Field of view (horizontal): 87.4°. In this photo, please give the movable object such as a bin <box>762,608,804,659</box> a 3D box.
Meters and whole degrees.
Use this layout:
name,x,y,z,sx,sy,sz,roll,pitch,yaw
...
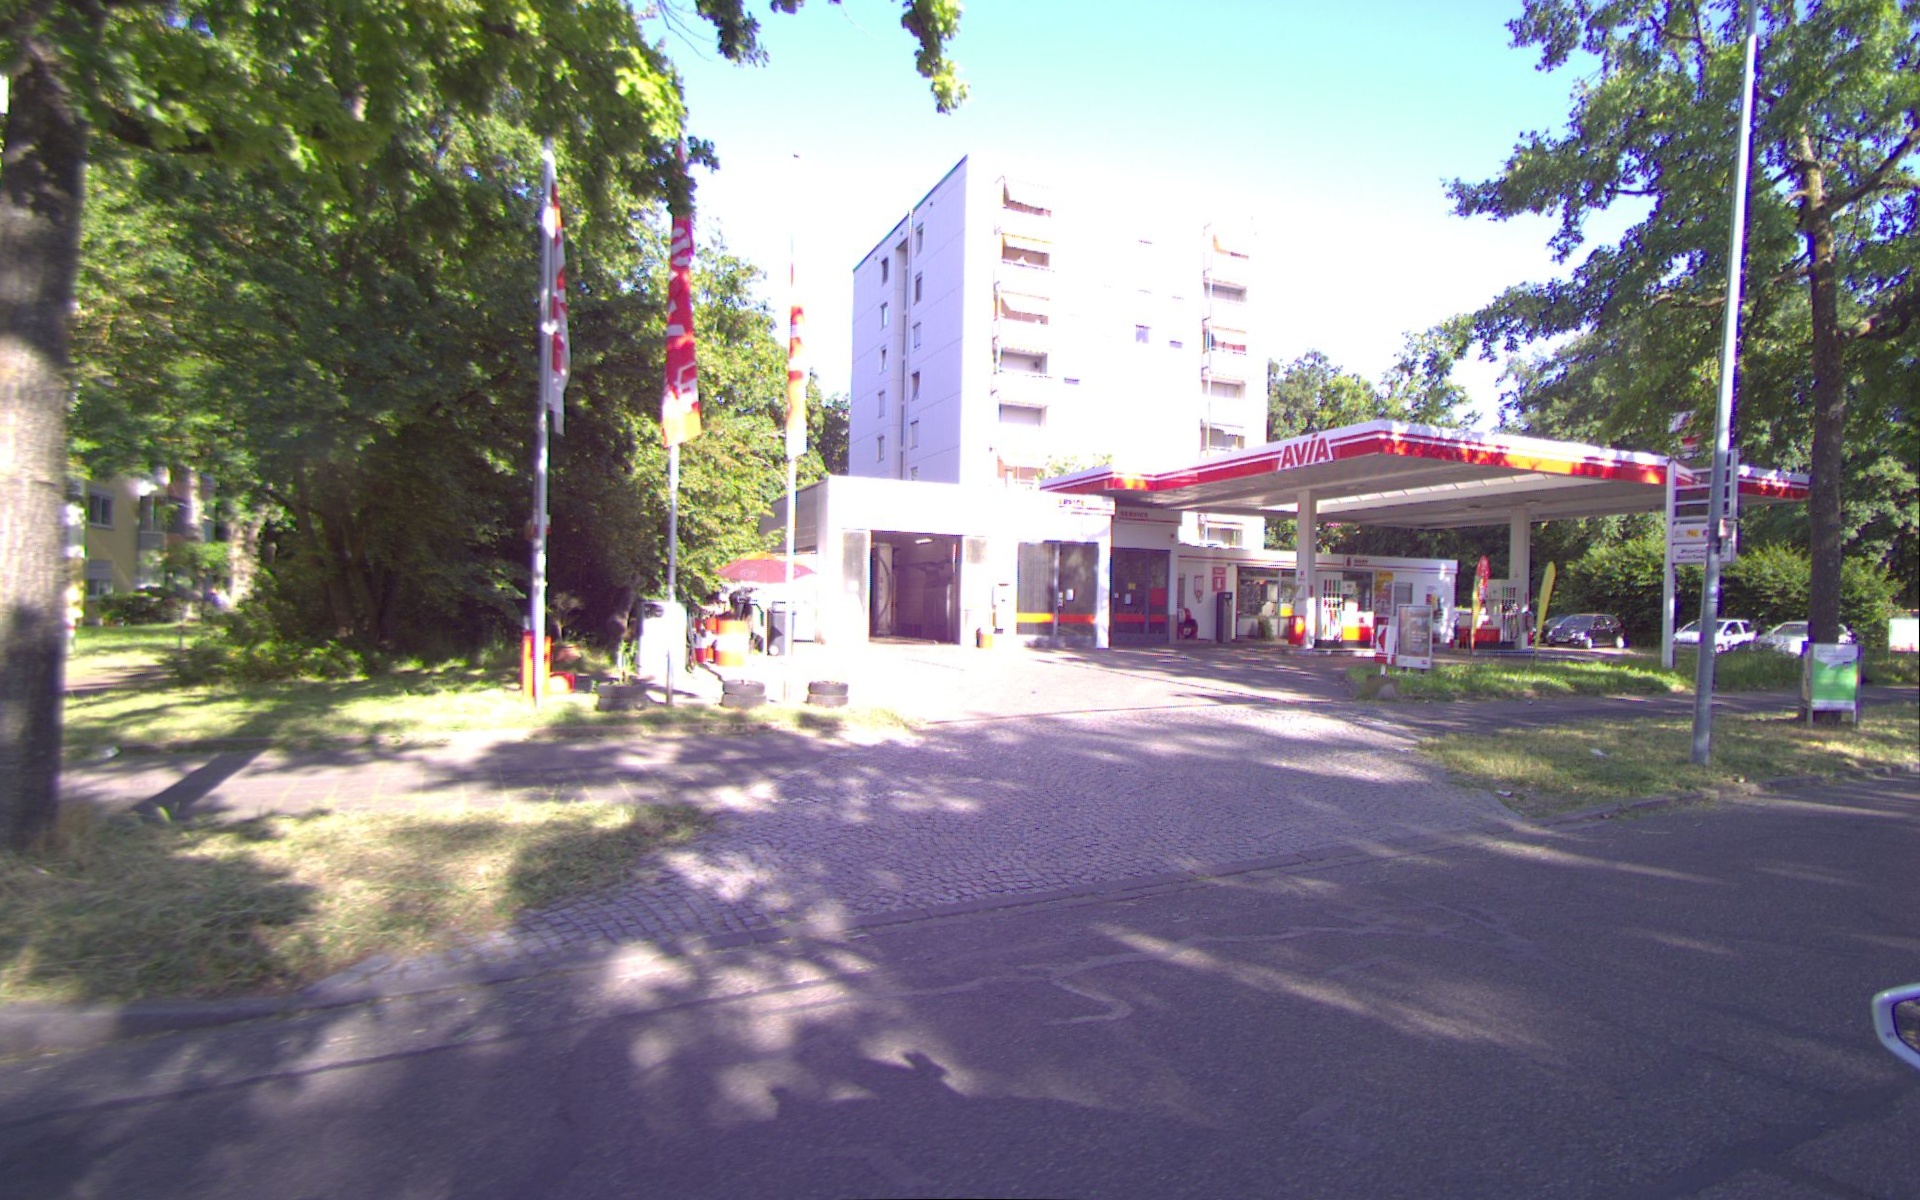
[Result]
name,x,y,z,sx,sy,sz,roll,pitch,yaw
movable object such as a bin,-3.940,0.737,22.360,0.759,1.100,0.566,1,0,-28

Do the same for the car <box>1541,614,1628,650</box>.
name,x,y,z,sx,sy,sz,roll,pitch,yaw
car,25.952,1.333,41.751,3.158,1.386,1.420,1,2,-21

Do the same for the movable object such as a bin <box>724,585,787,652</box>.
name,x,y,z,sx,sy,sz,roll,pitch,yaw
movable object such as a bin,-4.967,0.439,24.405,1.149,1.562,1.298,1,1,-28

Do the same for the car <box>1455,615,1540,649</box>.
name,x,y,z,sx,sy,sz,roll,pitch,yaw
car,24.242,1.413,45.391,1.437,1.335,3.189,1,2,-21

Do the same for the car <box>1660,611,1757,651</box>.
name,x,y,z,sx,sy,sz,roll,pitch,yaw
car,28.079,1.156,37.674,3.158,1.386,1.420,1,2,-21

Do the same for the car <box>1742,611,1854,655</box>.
name,x,y,z,sx,sy,sz,roll,pitch,yaw
car,29.704,1.167,35.600,3.435,1.441,1.543,1,2,-21

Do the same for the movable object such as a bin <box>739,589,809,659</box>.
name,x,y,z,sx,sy,sz,roll,pitch,yaw
movable object such as a bin,-4.315,0.549,23.281,1.252,1.562,1.299,1,0,-28
